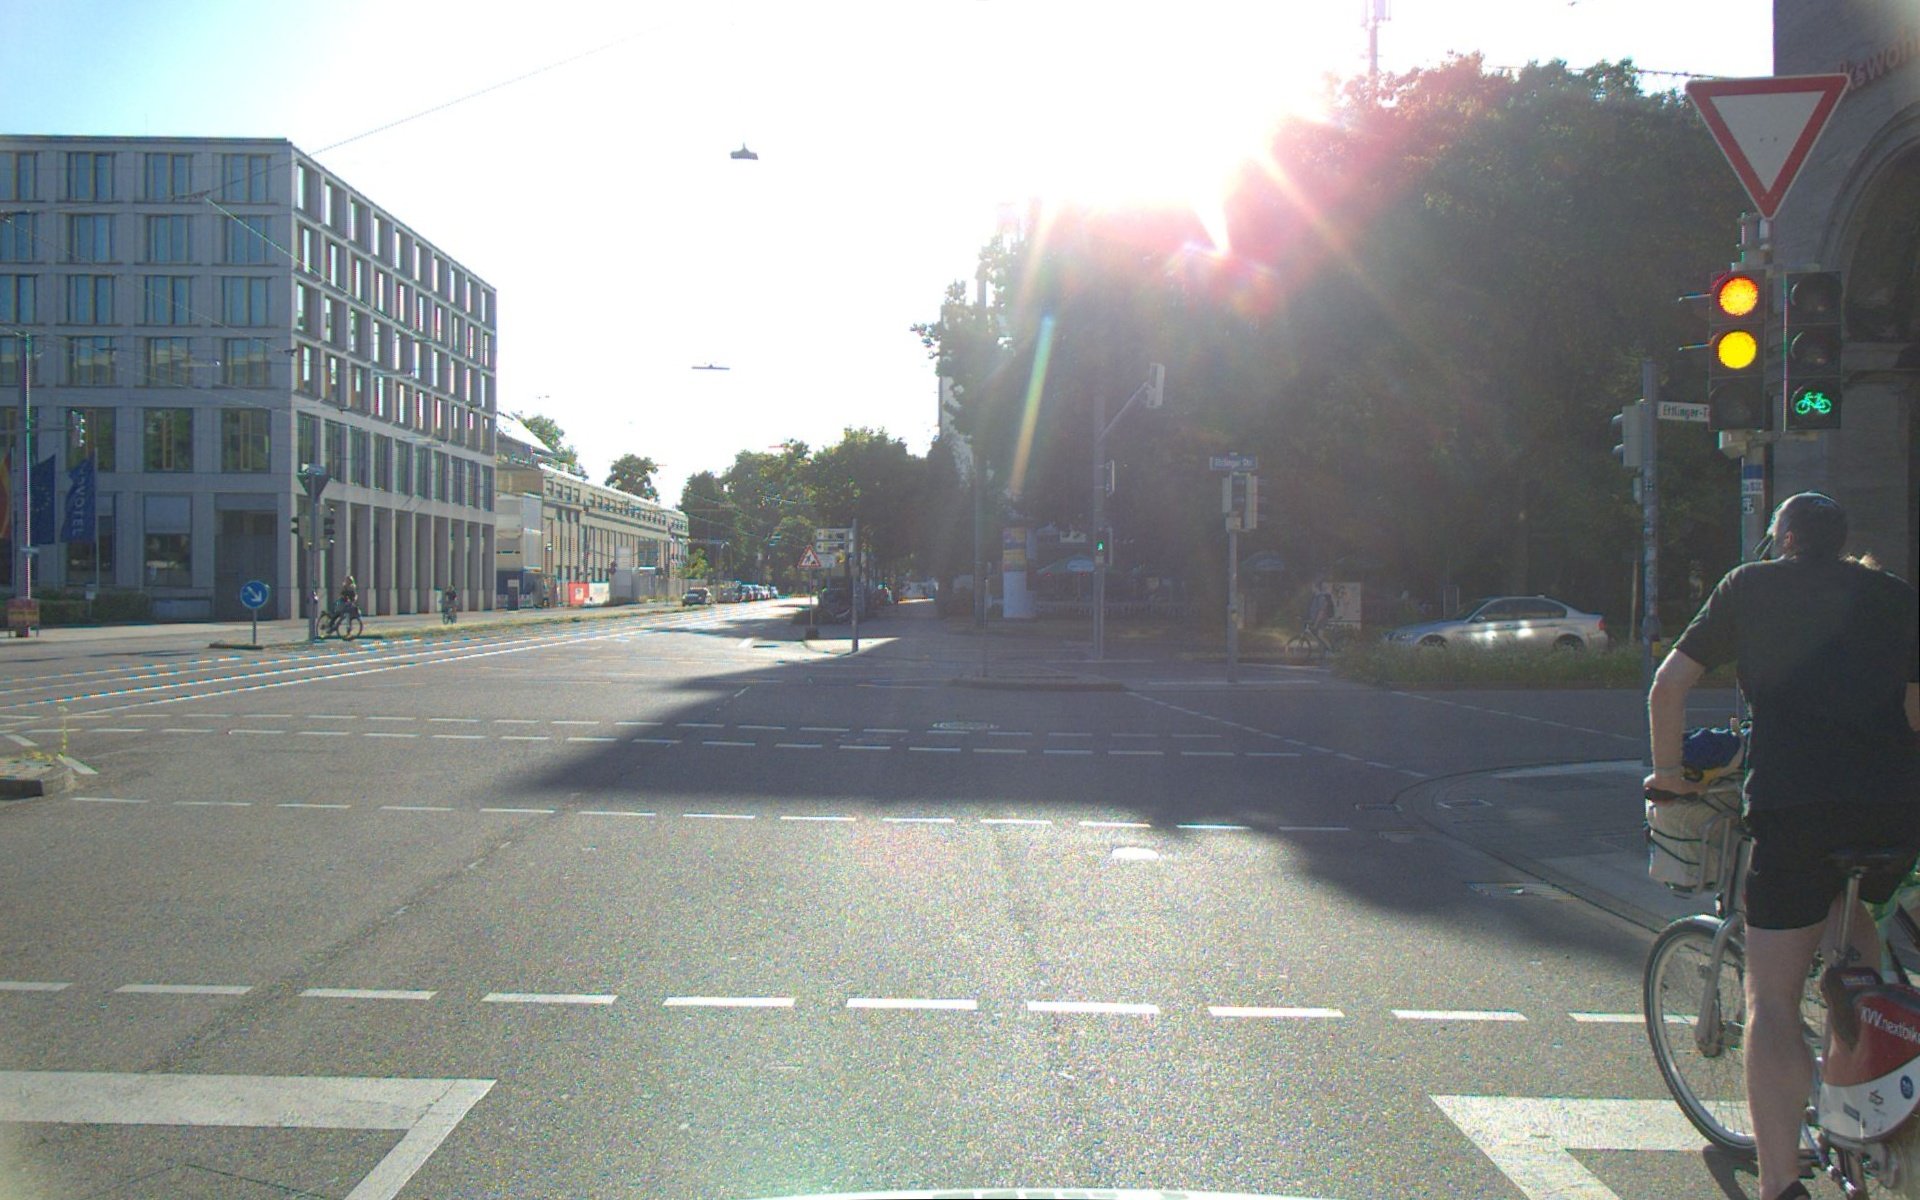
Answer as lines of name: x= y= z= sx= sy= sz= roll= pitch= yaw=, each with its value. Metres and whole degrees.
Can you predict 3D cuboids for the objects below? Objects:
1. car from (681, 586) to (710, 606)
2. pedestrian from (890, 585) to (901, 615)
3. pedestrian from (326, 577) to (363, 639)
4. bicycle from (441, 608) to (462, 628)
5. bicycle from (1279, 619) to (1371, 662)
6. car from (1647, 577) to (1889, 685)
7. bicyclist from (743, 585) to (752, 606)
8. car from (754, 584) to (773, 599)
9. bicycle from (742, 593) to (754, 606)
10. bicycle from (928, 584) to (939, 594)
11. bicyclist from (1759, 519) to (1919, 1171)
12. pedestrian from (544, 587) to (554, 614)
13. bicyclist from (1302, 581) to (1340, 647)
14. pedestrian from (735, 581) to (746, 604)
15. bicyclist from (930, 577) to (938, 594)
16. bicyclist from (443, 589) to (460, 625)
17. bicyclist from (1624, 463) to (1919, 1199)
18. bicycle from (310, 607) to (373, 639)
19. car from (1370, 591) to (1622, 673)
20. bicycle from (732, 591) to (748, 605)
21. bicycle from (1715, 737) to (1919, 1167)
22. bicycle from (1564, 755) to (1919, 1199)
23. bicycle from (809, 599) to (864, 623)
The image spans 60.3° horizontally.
car: x=-21.659 y=-0.329 z=135.420 sx=1.954 sy=1.627 sz=3.997 roll=0 pitch=0 yaw=-3
pedestrian: x=-3.791 y=0.007 z=97.587 sx=0.566 sy=1.719 sz=0.584 roll=0 pitch=0 yaw=-8
pedestrian: x=-16.251 y=0.206 z=43.653 sx=0.727 sy=1.623 sz=0.573 roll=0 pitch=0 yaw=26
bicycle: x=-21.457 y=0.760 z=69.784 sx=0.484 sy=0.854 sz=1.156 roll=0 pitch=0 yaw=2
bicycle: x=8.033 y=0.883 z=36.469 sx=1.902 sy=0.905 sz=0.718 roll=1 pitch=0 yaw=5
car: x=16.227 y=0.614 z=33.363 sx=3.905 sy=2.049 sz=2.000 roll=1 pitch=0 yaw=0
bicyclist: x=-19.767 y=-0.440 z=154.016 sx=0.735 sy=1.953 sz=1.214 roll=1 pitch=0 yaw=-2
car: x=-23.052 y=-0.986 z=194.342 sx=1.954 sy=1.673 sz=3.997 roll=0 pitch=0 yaw=-4
bicycle: x=-19.758 y=-0.037 z=154.134 sx=0.735 sy=1.226 sz=3.107 roll=1 pitch=0 yaw=-2
bicycle: x=-3.192 y=-1.348 z=200.398 sx=0.875 sy=1.240 sz=2.785 roll=1 pitch=0 yaw=-12
bicyclist: x=2.893 y=0.662 z=4.924 sx=0.572 sy=1.769 sz=0.950 roll=0 pitch=0 yaw=1
pedestrian: x=-30.063 y=0.047 z=120.929 sx=0.576 sy=1.922 sz=0.478 roll=1 pitch=-1 yaw=-1
bicyclist: x=7.954 y=0.308 z=36.476 sx=0.731 sy=1.431 sz=0.702 roll=1 pitch=-1 yaw=6
pedestrian: x=-19.624 y=-0.655 z=147.909 sx=0.735 sy=2.099 sz=1.050 roll=1 pitch=-1 yaw=5
bicyclist: x=-3.160 y=-1.761 z=200.320 sx=0.875 sy=2.049 sz=0.746 roll=1 pitch=-1 yaw=-12
bicyclist: x=-21.460 y=0.301 z=69.802 sx=0.484 sy=1.525 sz=0.666 roll=0 pitch=0 yaw=2
bicyclist: x=2.130 y=0.571 z=4.059 sx=0.610 sy=1.745 sz=0.912 roll=0 pitch=0 yaw=-2
bicycle: x=-16.332 y=0.604 z=43.694 sx=1.679 sy=0.837 sz=0.573 roll=0 pitch=0 yaw=27
car: x=10.848 y=0.633 z=33.709 sx=4.483 sy=1.543 sz=2.000 roll=1 pitch=0 yaw=-1
bicycle: x=-19.632 y=-0.201 z=147.840 sx=0.735 sy=1.226 sz=3.109 roll=1 pitch=0 yaw=5
bicycle: x=2.906 y=1.014 z=4.867 sx=0.570 sy=1.062 sz=1.747 roll=0 pitch=0 yaw=0
bicycle: x=2.128 y=0.999 z=4.046 sx=0.610 sy=1.062 sz=1.746 roll=0 pitch=0 yaw=-2
bicycle: x=-5.009 y=0.449 z=67.109 sx=2.201 sy=0.956 sz=0.653 roll=0 pitch=0 yaw=-6
